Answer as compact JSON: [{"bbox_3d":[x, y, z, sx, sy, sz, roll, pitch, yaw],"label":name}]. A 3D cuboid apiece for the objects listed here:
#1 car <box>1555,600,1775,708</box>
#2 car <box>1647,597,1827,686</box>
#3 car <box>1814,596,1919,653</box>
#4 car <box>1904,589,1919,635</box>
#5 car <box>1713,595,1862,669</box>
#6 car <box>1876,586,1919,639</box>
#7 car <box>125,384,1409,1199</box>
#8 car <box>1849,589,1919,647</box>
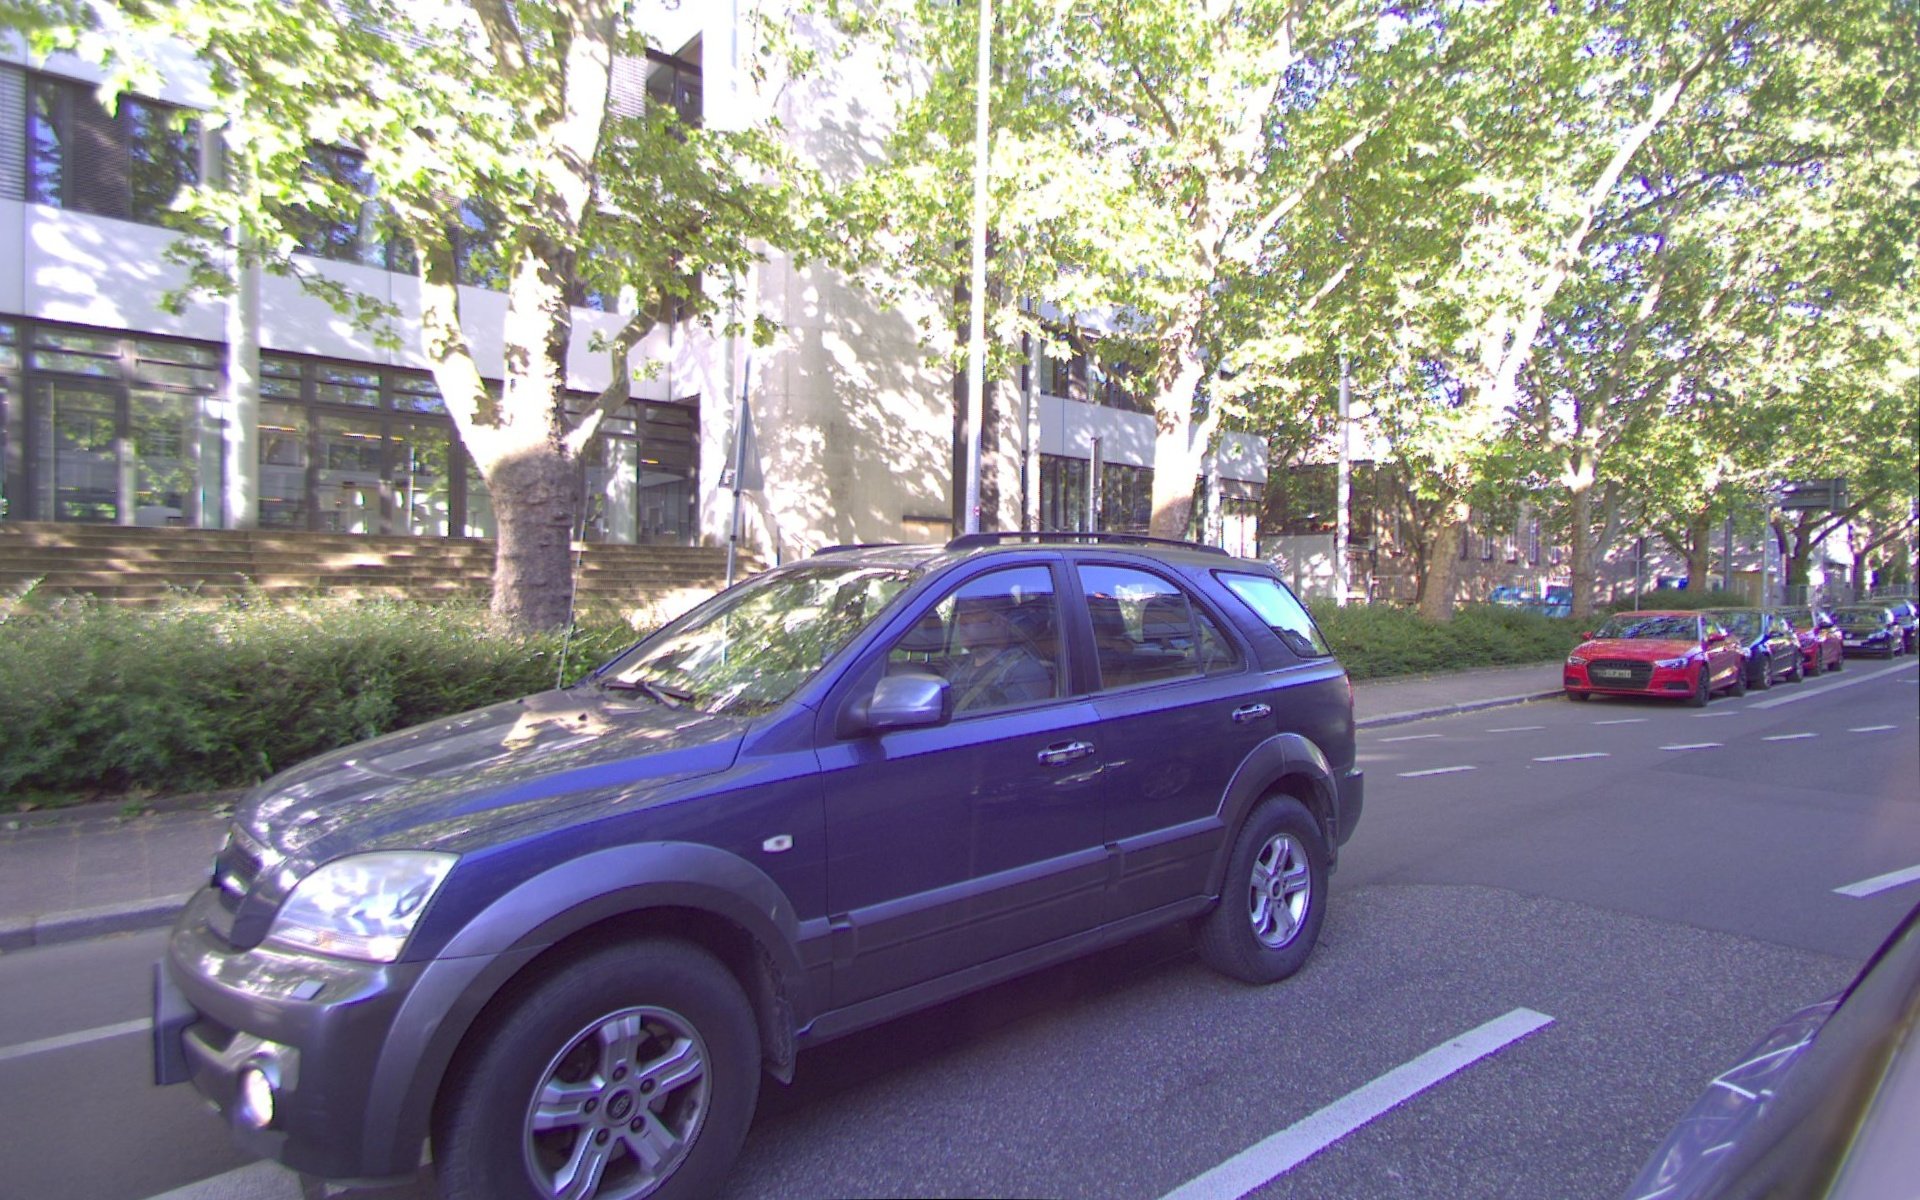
[{"bbox_3d":[11.314,0.742,16.136,4.403,1.469,1.865,0,0,-41],"label":"car"},{"bbox_3d":[14.762,0.695,19.136,4.403,1.469,1.865,0,0,-41],"label":"car"},{"bbox_3d":[25.785,0.625,28.608,4.403,1.469,1.865,0,0,-41],"label":"car"},{"bbox_3d":[38.868,0.448,39.963,4.403,1.781,1.865,0,0,-41],"label":"car"},{"bbox_3d":[18.429,0.640,22.474,4.403,1.469,1.865,0,0,-41],"label":"car"},{"bbox_3d":[33.902,0.399,35.693,4.403,1.781,1.865,0,0,-41],"label":"car"},{"bbox_3d":[-0.258,0.529,3.791,4.403,1.786,1.865,0,0,-41],"label":"car"},{"bbox_3d":[29.565,0.518,31.803,4.403,1.689,1.865,0,0,-41],"label":"car"}]
